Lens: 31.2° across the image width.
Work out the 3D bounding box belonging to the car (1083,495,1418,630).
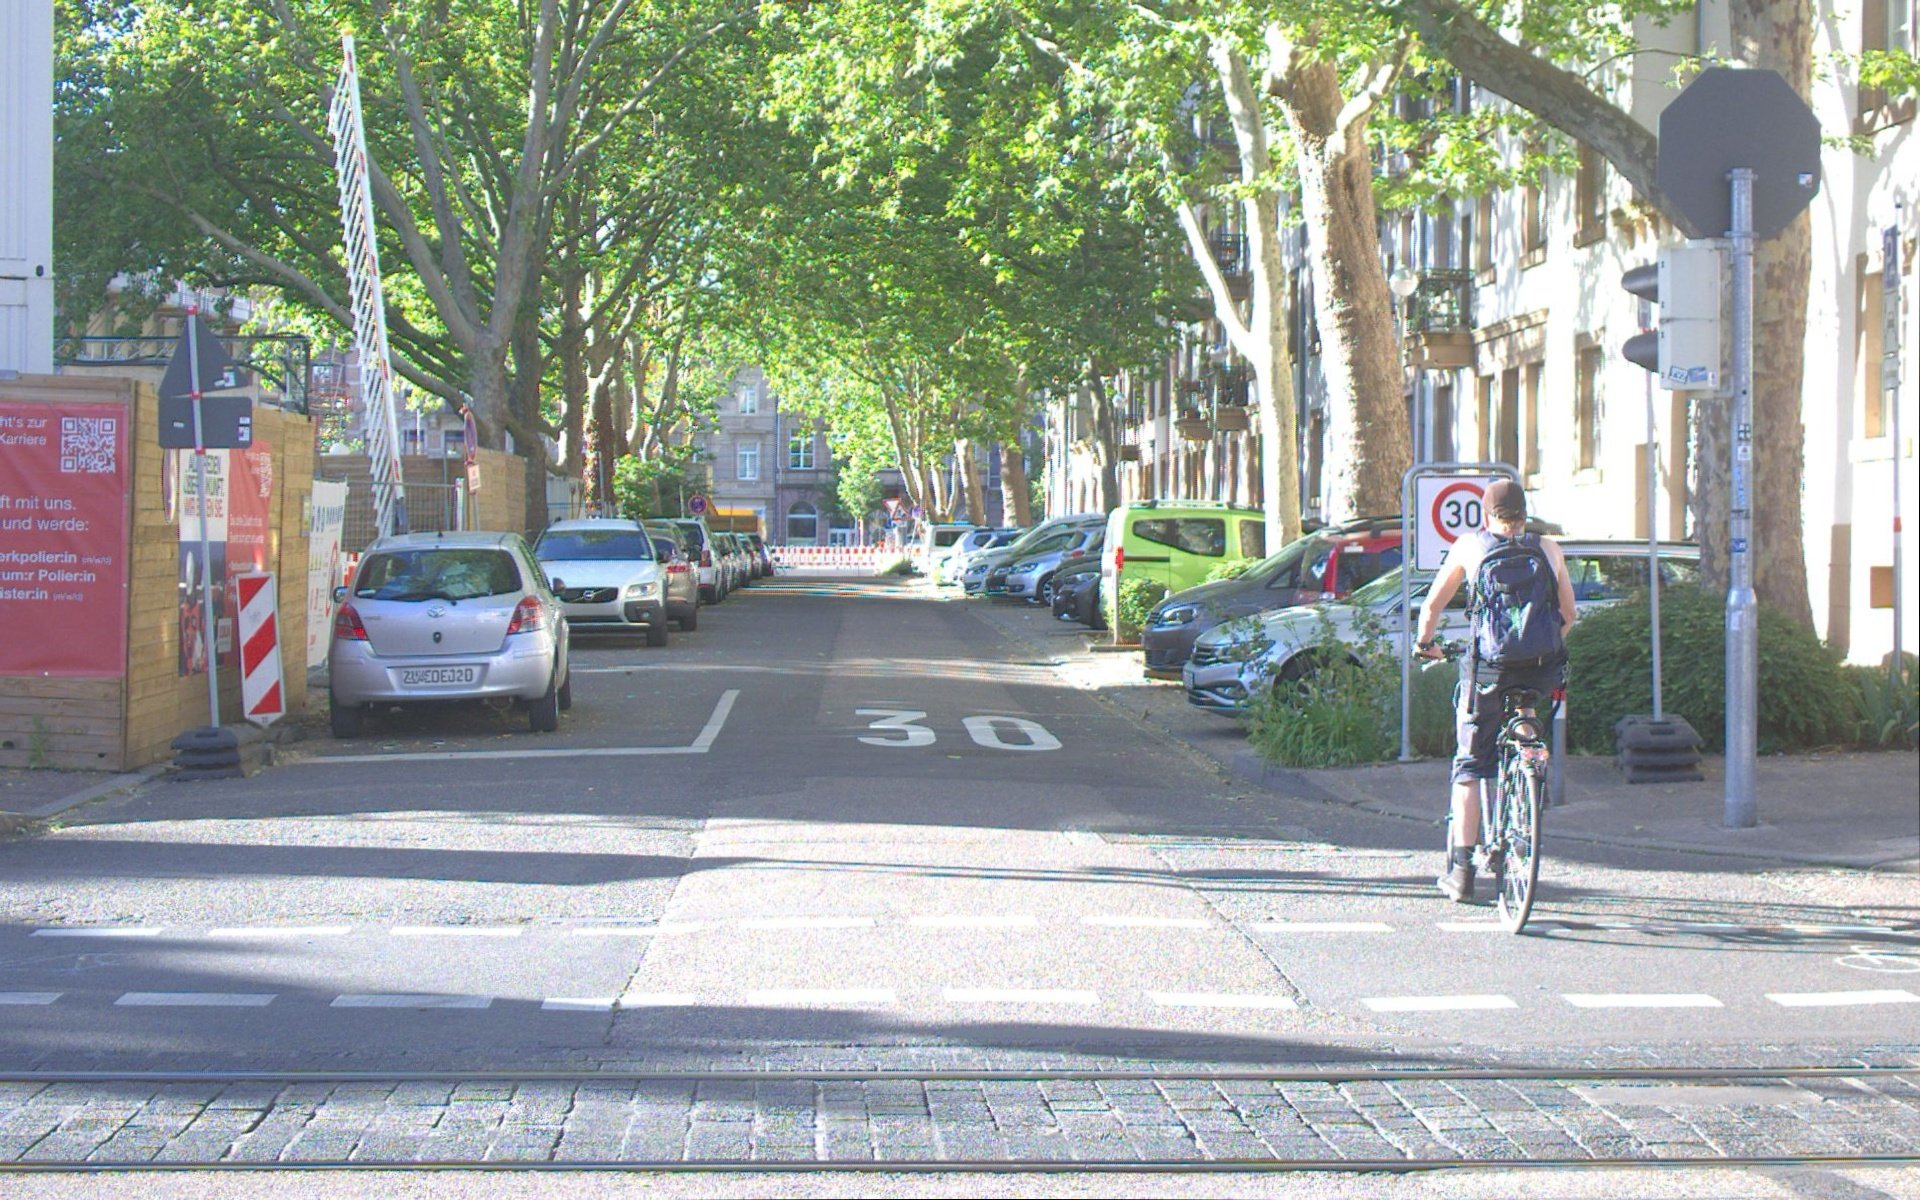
[{"bbox_3d":[4.043,-0.530,48.288,4.461,1.830,1.729,0,1,-4],"label":"car"}]

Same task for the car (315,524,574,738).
[{"bbox_3d":[-3.958,0.179,26.934,1.643,1.489,4.001,-2,1,-4],"label":"car"}]

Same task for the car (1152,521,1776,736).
[{"bbox_3d":[3.790,0.197,26.345,4.461,1.565,1.728,0,1,-3],"label":"car"}]

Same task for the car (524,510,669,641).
[{"bbox_3d":[-4.521,-0.338,43.185,1.665,1.557,4.001,0,1,-4],"label":"car"}]

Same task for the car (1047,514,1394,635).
[{"bbox_3d":[3.477,-0.359,46.330,4.461,1.565,1.728,0,1,-3],"label":"car"}]

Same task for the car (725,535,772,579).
[{"bbox_3d":[-7.776,-1.587,126.122,1.665,1.557,4.220,0,1,-4],"label":"car"}]

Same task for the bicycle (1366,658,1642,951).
[{"bbox_3d":[2.170,0.791,13.953,0.689,1.013,1.908,2,1,-3],"label":"bicycle"}]

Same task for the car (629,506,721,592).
[{"bbox_3d":[-5.394,-0.992,65.453,1.665,1.557,4.617,0,1,-4],"label":"car"}]

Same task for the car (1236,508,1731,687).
[{"bbox_3d":[5.019,-0.042,33.300,4.461,1.665,1.728,0,1,-3],"label":"car"}]

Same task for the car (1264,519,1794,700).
[{"bbox_3d":[5.110,0.068,31.216,4.461,1.565,1.728,0,1,-3],"label":"car"}]

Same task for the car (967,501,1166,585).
[{"bbox_3d":[2.451,-1.325,79.734,4.461,1.891,1.728,0,1,-3],"label":"car"}]

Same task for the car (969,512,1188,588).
[{"bbox_3d":[2.473,-1.061,72.413,4.461,1.565,1.728,0,1,-3],"label":"car"}]

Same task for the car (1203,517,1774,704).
[{"bbox_3d":[4.366,0.070,28.820,4.461,1.495,1.728,0,1,-3],"label":"car"}]

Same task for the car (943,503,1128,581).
[{"bbox_3d":[1.851,-1.441,85.356,4.461,1.891,1.728,0,1,-3],"label":"car"}]

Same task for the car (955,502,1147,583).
[{"bbox_3d":[2.161,-1.383,82.494,4.461,1.891,1.728,0,1,-3],"label":"car"}]

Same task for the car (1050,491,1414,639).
[{"bbox_3d":[3.466,-0.461,44.310,4.461,1.830,1.729,0,1,-4],"label":"car"}]

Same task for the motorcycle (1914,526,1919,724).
[{"bbox_3d":[6.756,0.189,22.282,0.513,1.328,1.764,0,1,-4],"label":"motorcycle"}]

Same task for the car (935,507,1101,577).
[{"bbox_3d":[1.584,-1.626,95.300,4.461,1.891,1.728,0,1,-3],"label":"car"}]

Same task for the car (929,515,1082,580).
[{"bbox_3d":[1.334,-1.562,102.729,4.461,1.891,1.728,0,1,-3],"label":"car"}]

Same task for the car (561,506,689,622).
[{"bbox_3d":[-4.707,-0.537,48.711,1.665,1.557,4.520,0,1,-4],"label":"car"}]

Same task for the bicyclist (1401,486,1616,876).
[{"bbox_3d":[2.191,0.311,13.798,0.676,1.507,0.669,2,1,-3],"label":"bicyclist"}]

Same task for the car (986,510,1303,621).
[{"bbox_3d":[2.665,-0.515,50.244,4.461,1.565,1.728,0,1,-3],"label":"car"}]

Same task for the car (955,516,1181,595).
[{"bbox_3d":[2.183,-0.922,70.085,4.461,1.565,1.728,0,1,-3],"label":"car"}]

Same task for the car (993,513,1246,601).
[{"bbox_3d":[2.890,-0.795,62.861,4.461,1.565,1.728,0,1,-3],"label":"car"}]

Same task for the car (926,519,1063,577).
[{"bbox_3d":[1.148,-1.759,114.906,4.461,1.891,1.728,0,1,-3],"label":"car"}]

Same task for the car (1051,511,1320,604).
[{"bbox_3d":[3.887,-0.742,59.688,4.461,1.565,1.728,0,1,-3],"label":"car"}]

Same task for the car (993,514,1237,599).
[{"bbox_3d":[2.922,-0.831,65.339,4.461,1.565,1.728,0,1,-3],"label":"car"}]

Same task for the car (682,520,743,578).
[{"bbox_3d":[-6.946,-1.449,96.453,1.665,1.557,4.220,0,1,-4],"label":"car"}]
